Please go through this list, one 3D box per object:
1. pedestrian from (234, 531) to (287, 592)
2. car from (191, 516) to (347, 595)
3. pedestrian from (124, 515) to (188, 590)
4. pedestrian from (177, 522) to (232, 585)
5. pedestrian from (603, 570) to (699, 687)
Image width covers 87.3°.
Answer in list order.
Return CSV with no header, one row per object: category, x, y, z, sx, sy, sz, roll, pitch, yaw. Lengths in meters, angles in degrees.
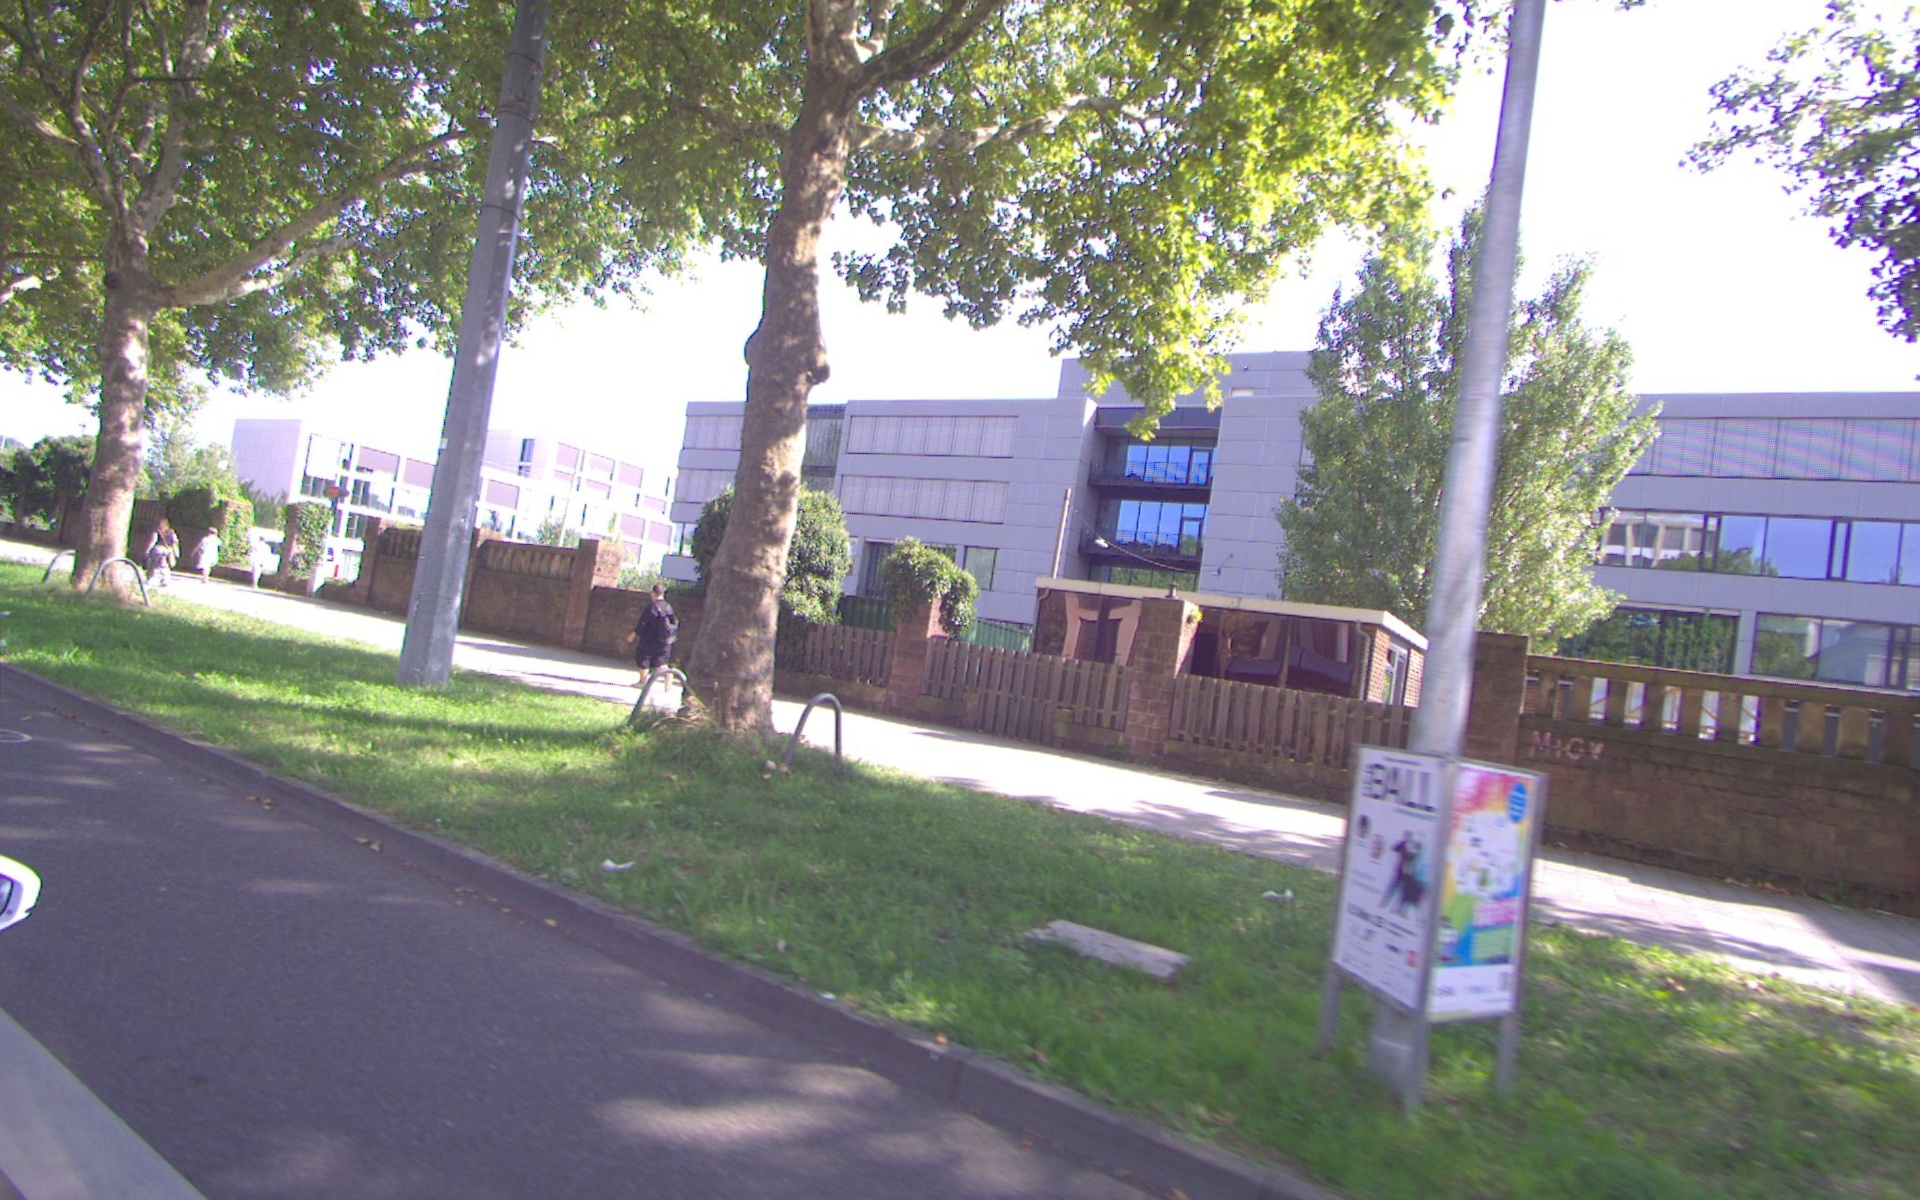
pedestrian,-20.449,-1.125,29.410,0.931,1.623,0.807,7,-1,32
car,-28.477,-1.775,41.631,2.022,2.342,4.677,6,-4,32
pedestrian,-19.518,-1.145,24.423,0.931,1.655,0.807,7,-1,32
pedestrian,-21.320,-1.315,28.381,0.931,1.623,0.807,7,-1,32
pedestrian,-4.950,0.464,16.142,0.995,1.706,0.820,7,-1,32
